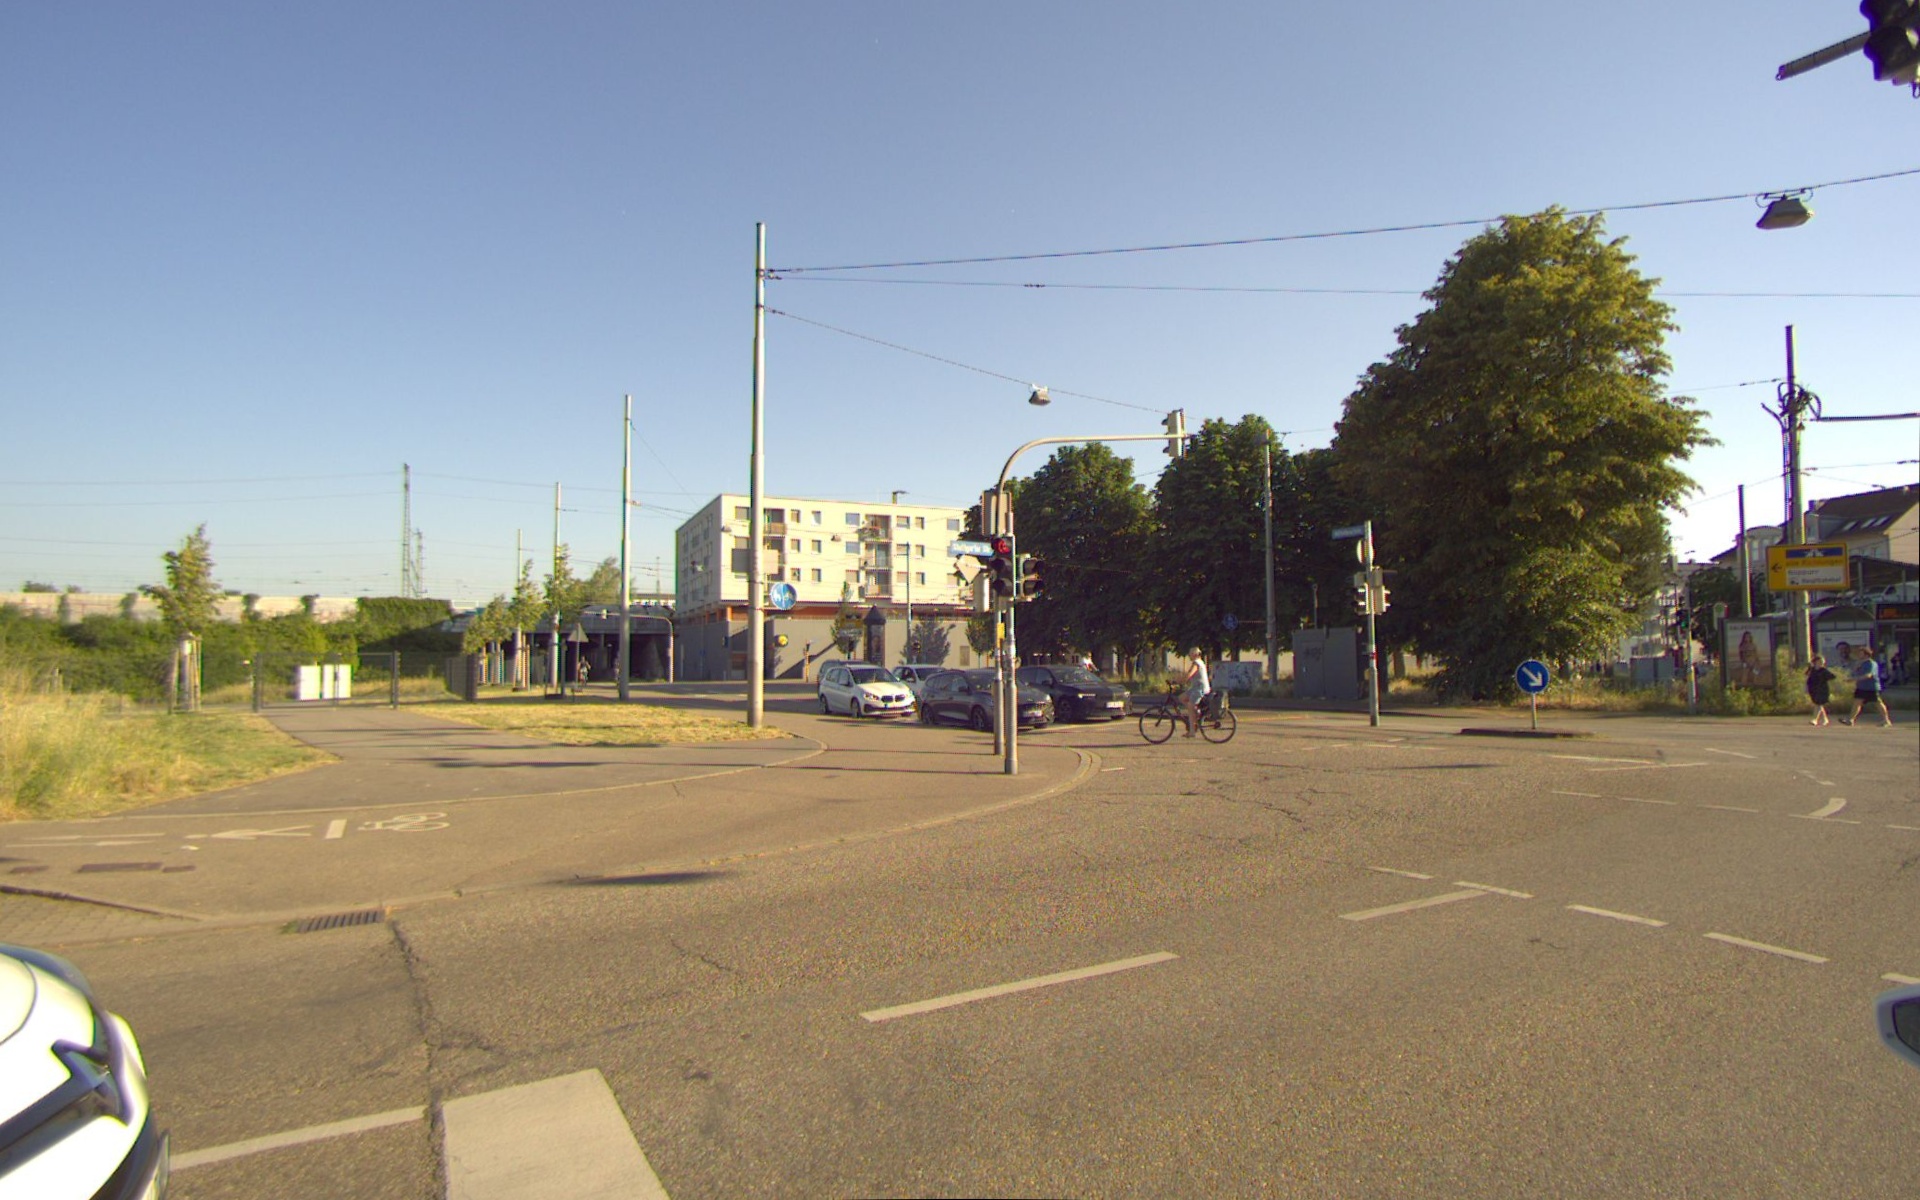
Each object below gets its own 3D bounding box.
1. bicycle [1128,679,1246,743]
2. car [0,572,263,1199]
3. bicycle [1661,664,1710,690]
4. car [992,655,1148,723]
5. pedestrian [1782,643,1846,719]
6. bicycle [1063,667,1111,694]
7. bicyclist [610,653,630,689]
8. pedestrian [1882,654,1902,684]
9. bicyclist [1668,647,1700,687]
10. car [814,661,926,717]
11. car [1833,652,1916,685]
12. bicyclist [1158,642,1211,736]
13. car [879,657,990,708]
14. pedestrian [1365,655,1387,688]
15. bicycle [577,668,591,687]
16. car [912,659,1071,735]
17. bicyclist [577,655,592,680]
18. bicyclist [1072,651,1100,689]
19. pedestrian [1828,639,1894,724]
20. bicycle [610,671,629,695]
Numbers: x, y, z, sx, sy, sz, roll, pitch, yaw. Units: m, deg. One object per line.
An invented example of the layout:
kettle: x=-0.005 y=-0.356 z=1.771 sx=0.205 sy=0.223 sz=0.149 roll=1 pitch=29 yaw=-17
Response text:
bicycle: x=4.053 y=1.960 z=17.926 sx=1.979 sy=1.083 sz=0.664 roll=-2 pitch=-3 yaw=19
car: x=-3.061 y=0.714 z=1.006 sx=3.733 sy=1.488 sz=1.692 roll=2 pitch=-4 yaw=-32
bicycle: x=31.182 y=3.312 z=43.166 sx=1.987 sy=1.083 sz=0.661 roll=1 pitch=-3 yaw=-18
car: x=2.772 y=2.278 z=26.406 sx=2.027 sy=1.587 sz=4.423 roll=1 pitch=-4 yaw=-26
pedestrian: x=20.683 y=1.943 z=24.334 sx=1.058 sy=1.769 sz=0.905 roll=2 pitch=-4 yaw=-37
bicycle: x=5.581 y=3.520 z=44.122 sx=0.695 sy=1.157 sz=2.175 roll=2 pitch=-4 yaw=-41
bicyclist: x=-16.040 y=3.354 z=47.414 sx=0.865 sy=1.646 sz=0.968 roll=1 pitch=-3 yaw=-21
pedestrian: x=47.984 y=3.543 z=51.708 sx=0.558 sy=1.520 sz=0.677 roll=-2 pitch=-4 yaw=32
bicyclist: x=31.133 y=2.867 z=43.194 sx=0.873 sy=1.673 sz=0.668 roll=1 pitch=-3 yaw=-19
car: x=-2.852 y=2.680 z=30.956 sx=1.975 sy=1.587 sz=4.246 roll=1 pitch=-4 yaw=-27
car: x=59.356 y=4.428 z=65.339 sx=2.017 sy=1.987 sz=5.153 roll=-4 pitch=-4 yaw=19
bicyclist: x=4.018 y=1.582 z=17.954 sx=0.840 sy=1.626 sz=0.777 roll=-1 pitch=-3 yaw=18
car: x=-0.937 y=2.724 z=33.652 sx=1.975 sy=1.587 sz=4.426 roll=1 pitch=-4 yaw=-27
pedestrian: x=24.348 y=4.152 z=58.736 sx=0.678 sy=1.896 sz=0.939 roll=1 pitch=-3 yaw=-26
bicycle: x=-23.783 y=4.909 z=63.562 sx=0.781 sy=1.164 sz=2.281 roll=1 pitch=-4 yaw=-22
car: x=0.644 y=2.250 z=24.051 sx=1.975 sy=1.587 sz=4.246 roll=0 pitch=-3 yaw=-27
bicyclist: x=-23.815 y=4.286 z=63.645 sx=0.840 sy=1.567 sz=1.017 roll=1 pitch=-4 yaw=-22
bicyclist: x=5.530 y=3.086 z=44.192 sx=0.708 sy=1.650 sz=1.029 roll=2 pitch=-4 yaw=-41
pedestrian: x=21.287 y=1.906 z=23.725 sx=1.058 sy=1.950 sz=0.905 roll=2 pitch=-4 yaw=-37
bicycle: x=-16.059 y=3.912 z=47.328 sx=0.743 sy=1.107 sz=1.940 roll=1 pitch=-4 yaw=-21
